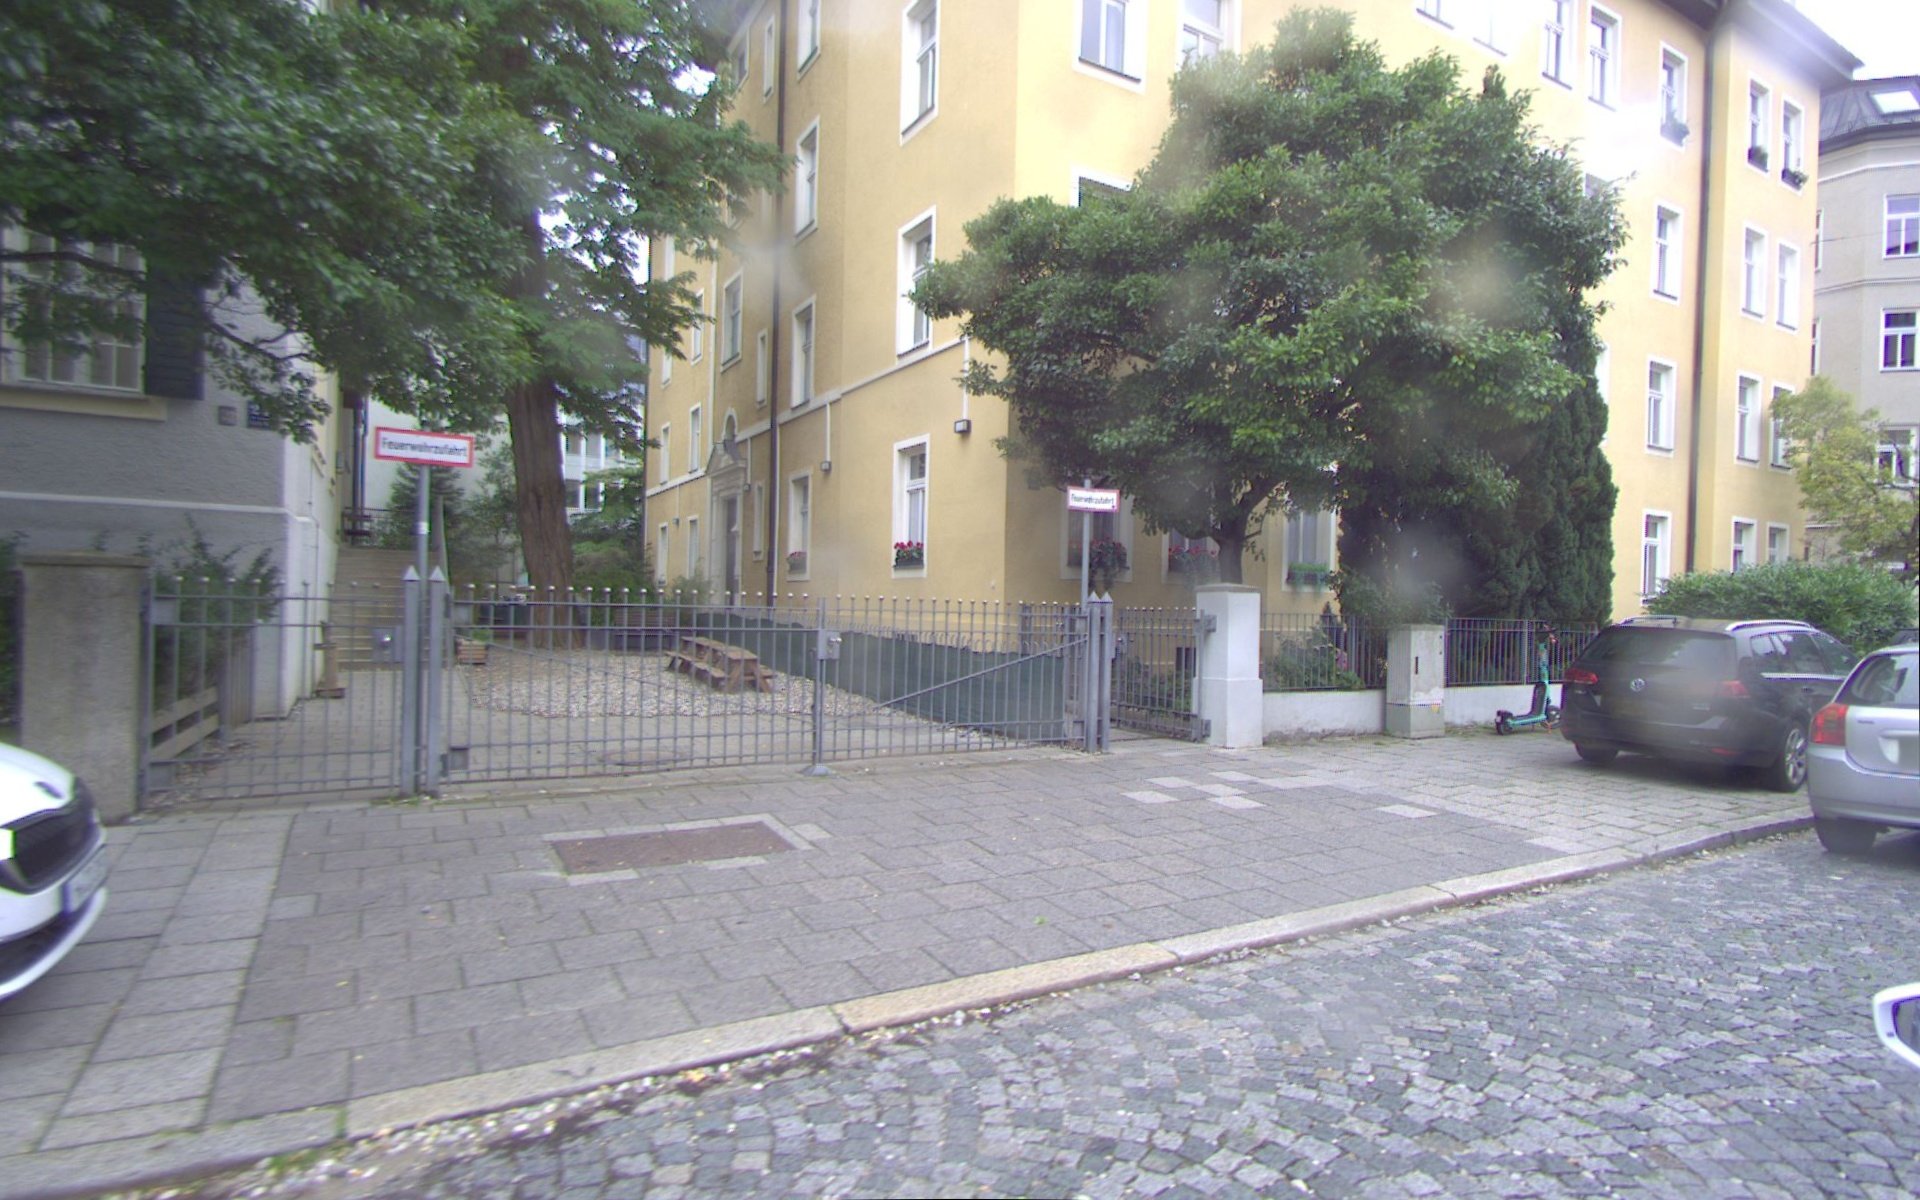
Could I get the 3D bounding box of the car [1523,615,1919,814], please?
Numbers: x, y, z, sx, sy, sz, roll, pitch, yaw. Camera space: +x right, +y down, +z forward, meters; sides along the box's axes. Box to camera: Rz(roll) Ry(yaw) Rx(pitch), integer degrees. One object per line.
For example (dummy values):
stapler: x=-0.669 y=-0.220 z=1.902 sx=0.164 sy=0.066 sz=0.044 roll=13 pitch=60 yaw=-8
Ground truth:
car: x=7.853 y=0.984 z=10.064 sx=4.667 sy=1.517 sz=1.706 roll=1 pitch=2 yaw=-31

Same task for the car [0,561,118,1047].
car: x=-5.008 y=0.556 z=2.242 sx=4.507 sy=1.436 sz=1.767 roll=1 pitch=1 yaw=-30

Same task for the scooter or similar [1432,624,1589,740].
scooter or similar: x=6.522 y=0.929 z=11.904 sx=1.504 sy=1.216 sz=0.951 roll=1 pitch=2 yaw=-30

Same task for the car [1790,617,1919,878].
car: x=7.800 y=0.931 z=7.040 sx=4.340 sy=1.583 sz=1.705 roll=1 pitch=-2 yaw=-31
